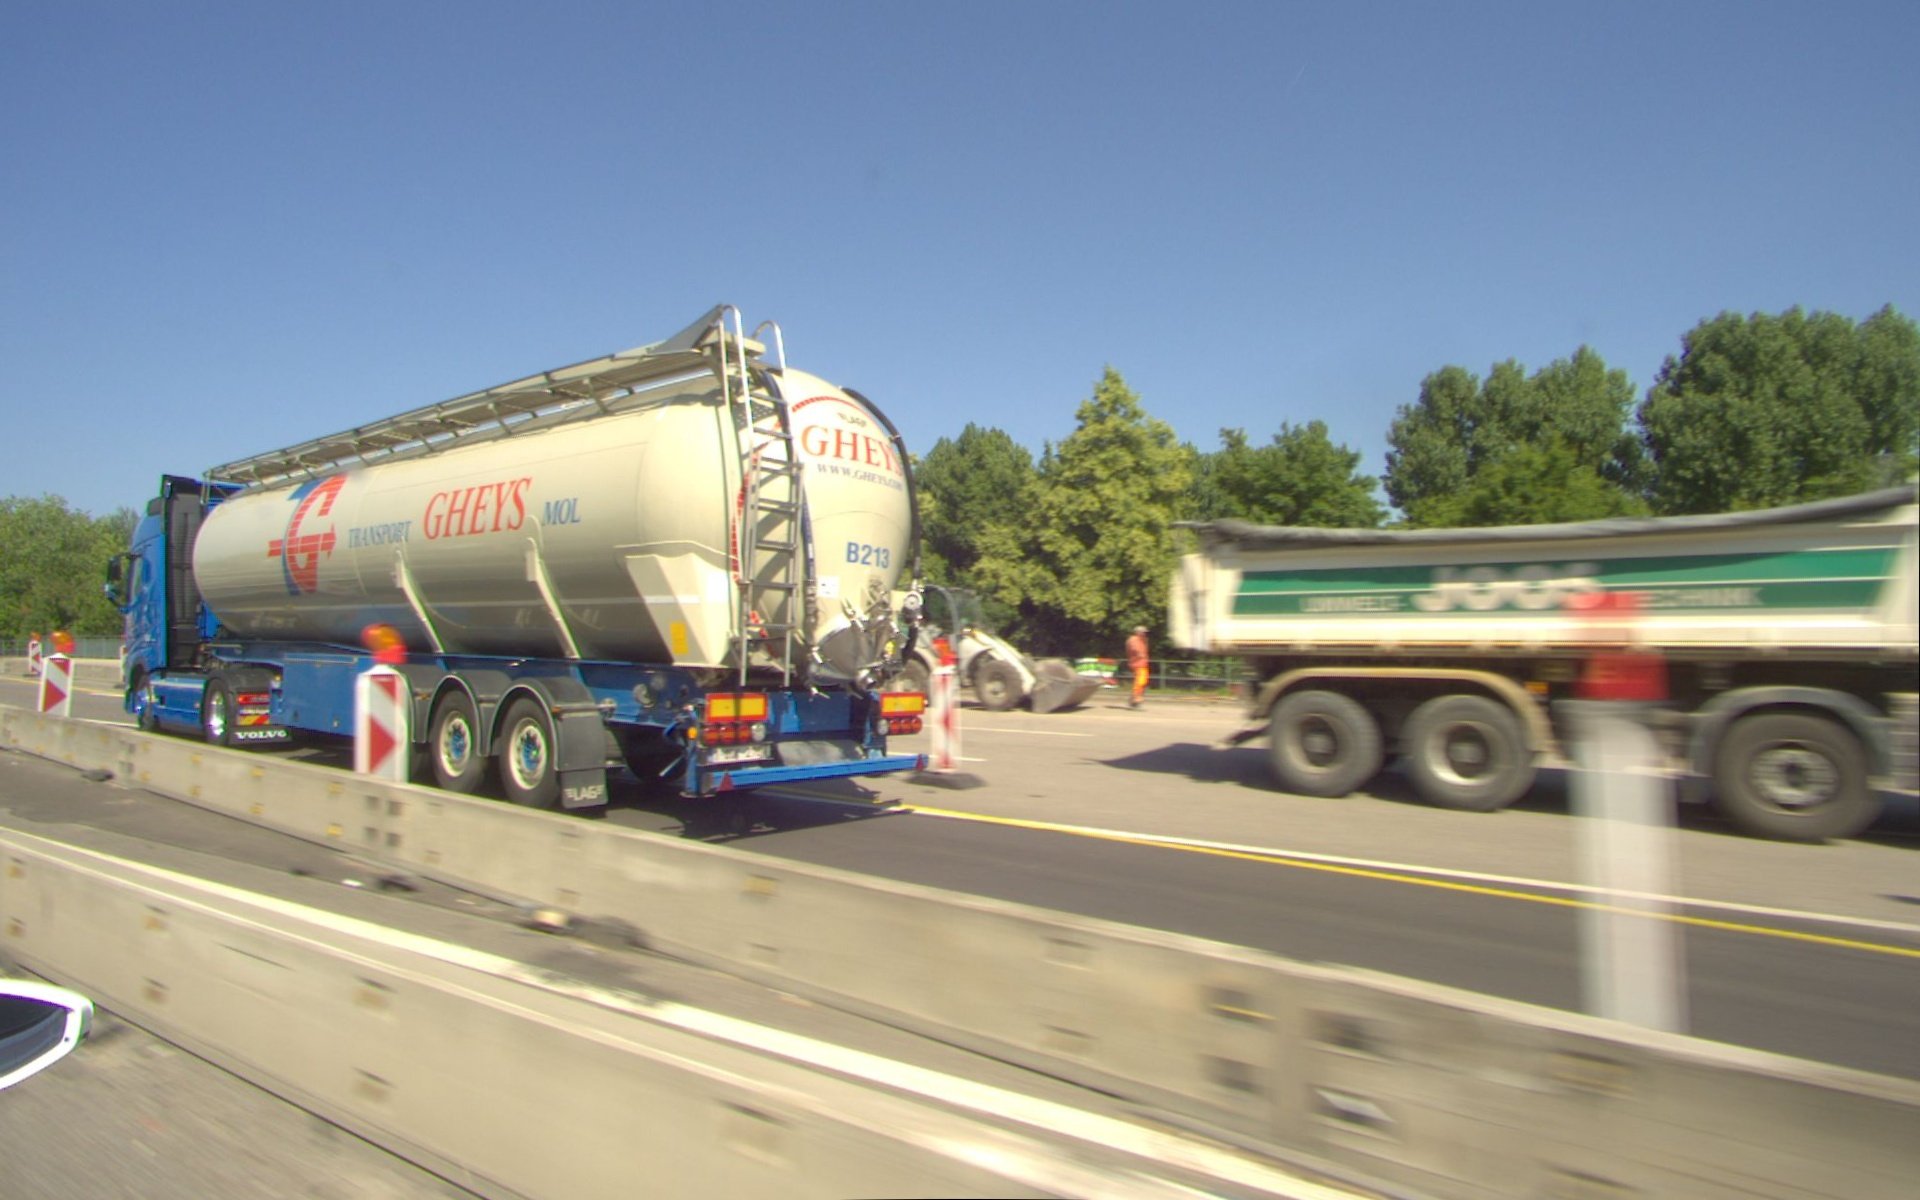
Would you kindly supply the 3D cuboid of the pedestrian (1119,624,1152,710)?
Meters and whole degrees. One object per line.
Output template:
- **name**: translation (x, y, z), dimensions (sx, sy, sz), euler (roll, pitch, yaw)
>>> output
- **pedestrian**: translation (3.695, 1.394, 21.042), dimensions (0.523, 1.770, 0.664), euler (0, -1, 26)

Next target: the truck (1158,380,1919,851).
- **truck**: translation (6.406, 0.171, 9.351), dimensions (8.610, 3.477, 2.594), euler (-1, -1, 32)

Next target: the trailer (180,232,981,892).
- **trailer**: translation (-5.468, -0.097, 11.370), dimensions (12.463, 4.190, 2.683), euler (-1, -2, 39)

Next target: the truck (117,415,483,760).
- **truck**: translation (-10.364, -0.056, 15.388), dimensions (7.213, 4.155, 2.683), euler (-1, -1, 39)

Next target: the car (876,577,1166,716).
- **car**: translation (1.254, 0.966, 21.482), dimensions (5.888, 2.676, 2.104), euler (-1, -1, 26)
